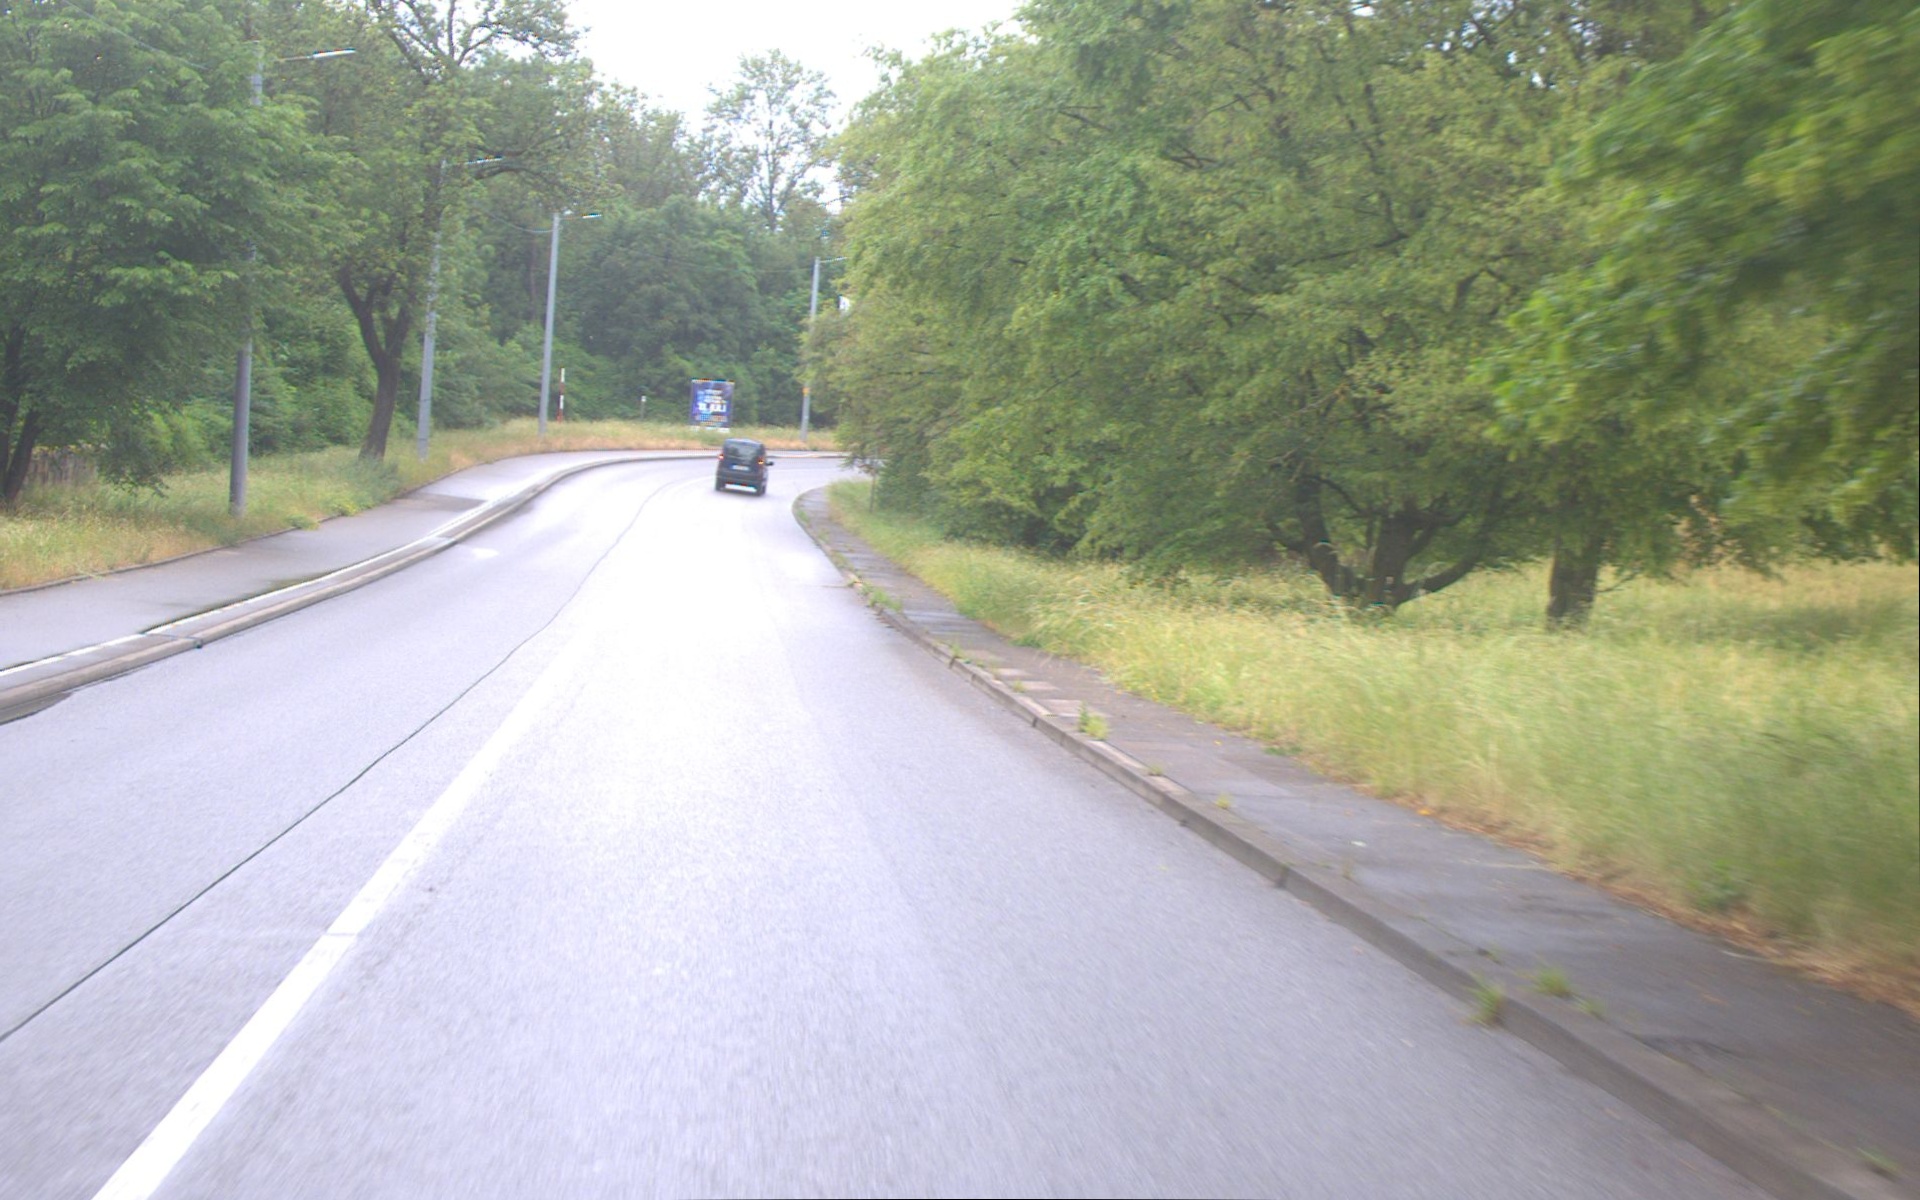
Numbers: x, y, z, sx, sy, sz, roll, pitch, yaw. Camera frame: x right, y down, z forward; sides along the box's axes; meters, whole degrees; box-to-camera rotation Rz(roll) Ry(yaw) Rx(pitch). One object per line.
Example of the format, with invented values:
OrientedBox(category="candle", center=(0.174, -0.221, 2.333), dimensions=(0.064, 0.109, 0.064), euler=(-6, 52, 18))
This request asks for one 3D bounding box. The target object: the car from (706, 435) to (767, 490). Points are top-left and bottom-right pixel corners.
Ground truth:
OrientedBox(category="car", center=(-7.755, -4.766, 119.495), dimensions=(1.742, 1.711, 4.000), euler=(5, 2, 0))
